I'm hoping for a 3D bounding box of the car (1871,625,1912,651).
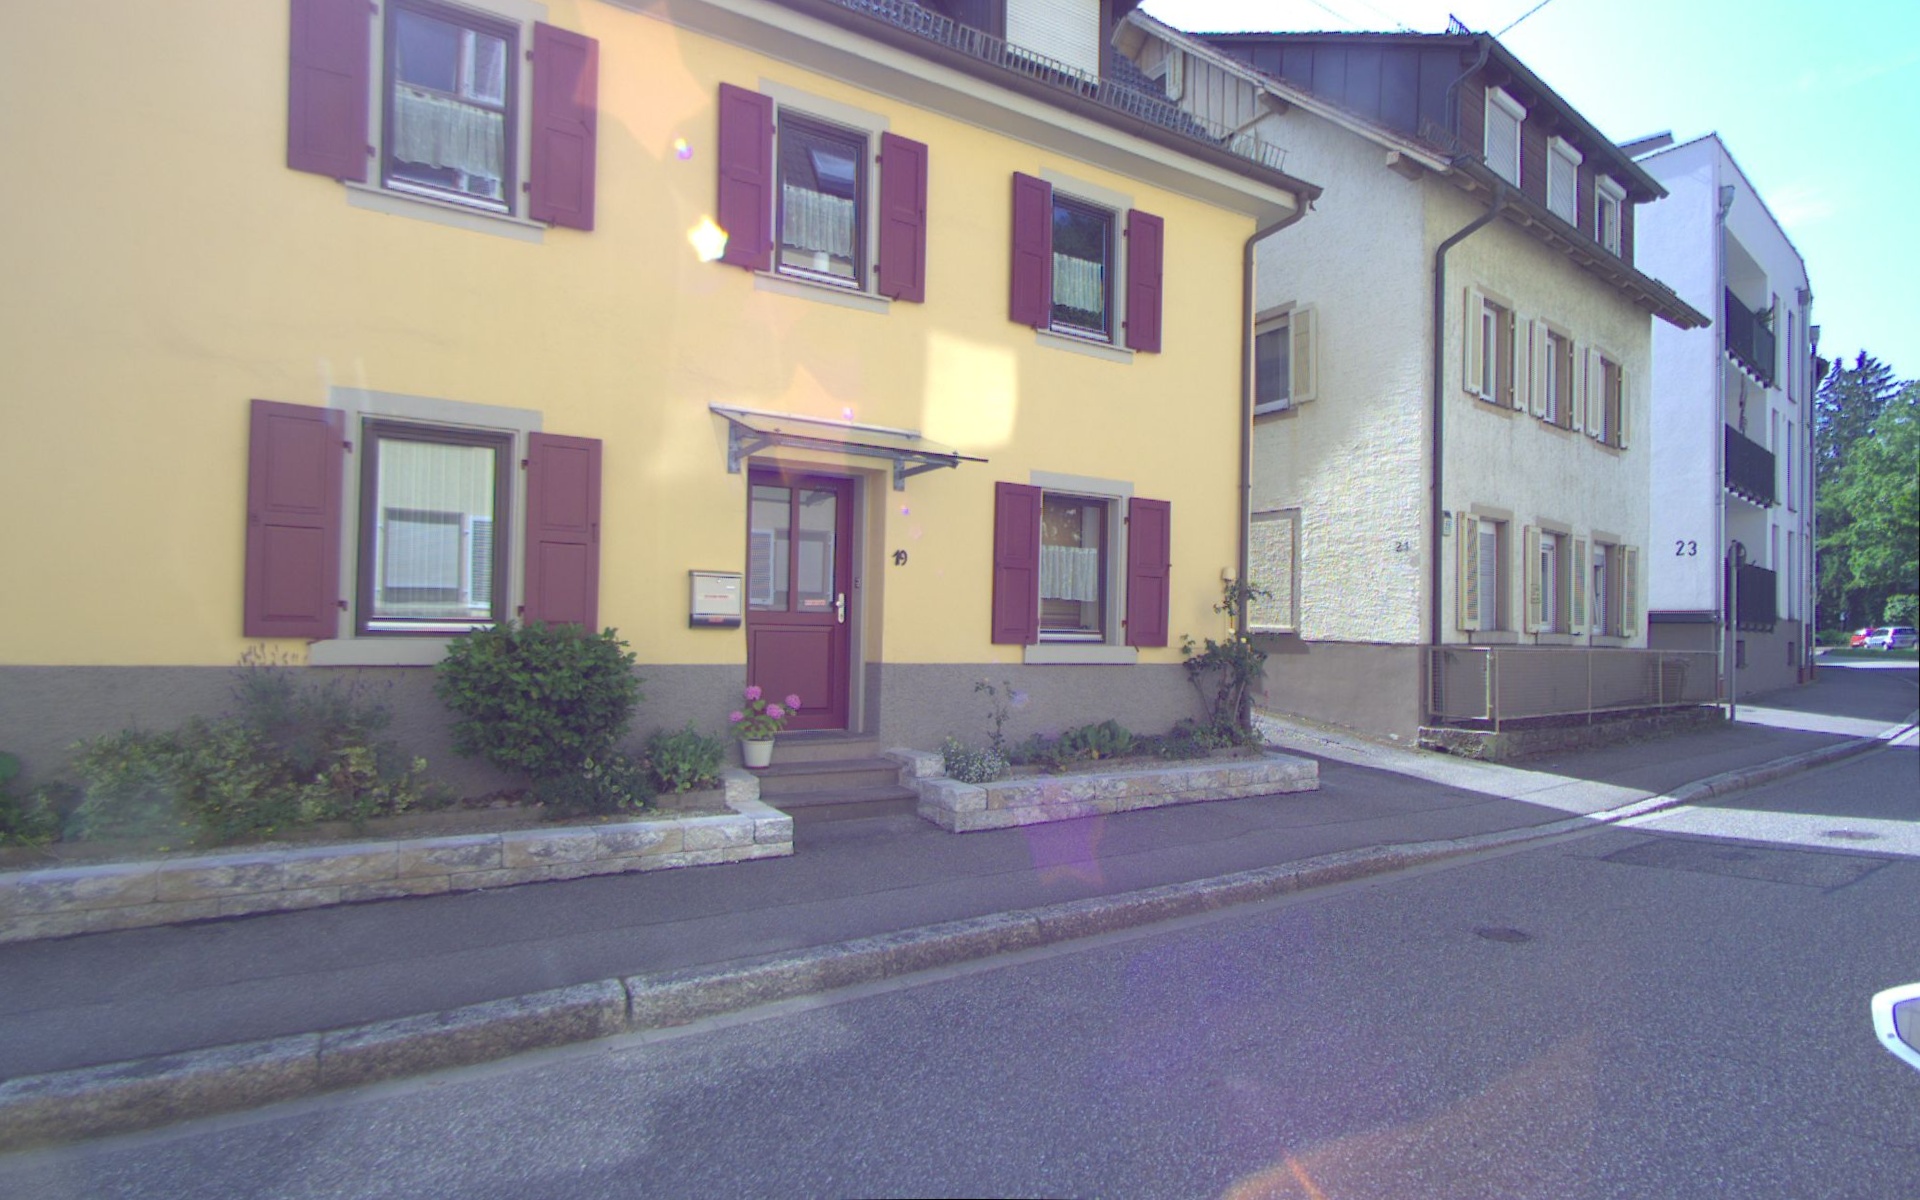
[{"bbox_3d":[58.574,2.401,63.214,1.724,1.572,3.734,-1,-2,41],"label":"car"}]

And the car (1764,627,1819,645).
[{"bbox_3d":[75.225,3.245,90.902,1.923,1.549,3.418,1,-1,-12],"label":"car"}]

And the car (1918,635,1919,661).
[{"bbox_3d":[14.145,1.172,12.917,3.959,1.557,1.813,1,-5,-35],"label":"car"}]

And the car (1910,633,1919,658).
[{"bbox_3d":[56.630,2.641,57.785,1.645,1.487,3.410,0,-1,20],"label":"car"}]

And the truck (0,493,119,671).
[{"bbox_3d":[-18.733,-0.320,17.670,5.673,3.100,2.394,0,1,-31],"label":"truck"}]
